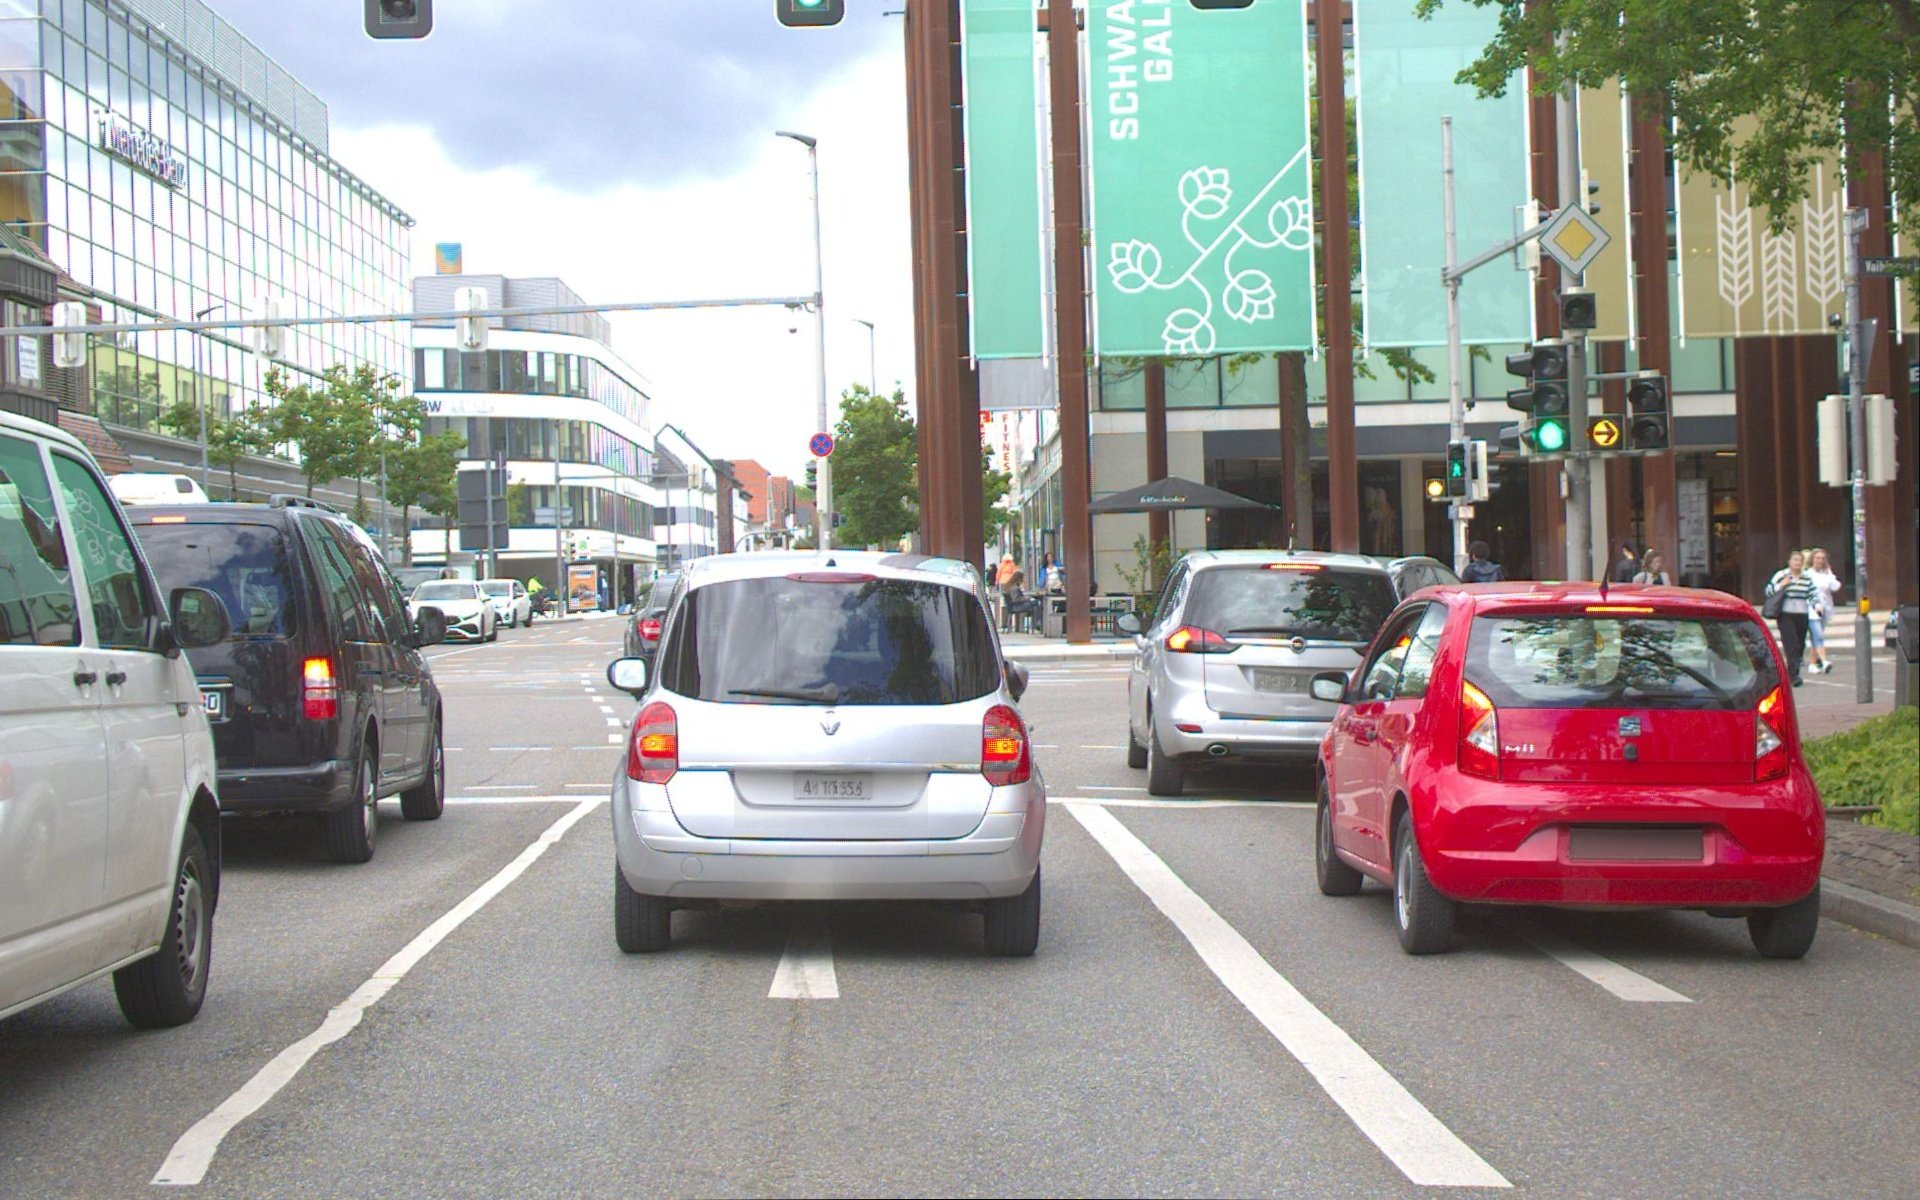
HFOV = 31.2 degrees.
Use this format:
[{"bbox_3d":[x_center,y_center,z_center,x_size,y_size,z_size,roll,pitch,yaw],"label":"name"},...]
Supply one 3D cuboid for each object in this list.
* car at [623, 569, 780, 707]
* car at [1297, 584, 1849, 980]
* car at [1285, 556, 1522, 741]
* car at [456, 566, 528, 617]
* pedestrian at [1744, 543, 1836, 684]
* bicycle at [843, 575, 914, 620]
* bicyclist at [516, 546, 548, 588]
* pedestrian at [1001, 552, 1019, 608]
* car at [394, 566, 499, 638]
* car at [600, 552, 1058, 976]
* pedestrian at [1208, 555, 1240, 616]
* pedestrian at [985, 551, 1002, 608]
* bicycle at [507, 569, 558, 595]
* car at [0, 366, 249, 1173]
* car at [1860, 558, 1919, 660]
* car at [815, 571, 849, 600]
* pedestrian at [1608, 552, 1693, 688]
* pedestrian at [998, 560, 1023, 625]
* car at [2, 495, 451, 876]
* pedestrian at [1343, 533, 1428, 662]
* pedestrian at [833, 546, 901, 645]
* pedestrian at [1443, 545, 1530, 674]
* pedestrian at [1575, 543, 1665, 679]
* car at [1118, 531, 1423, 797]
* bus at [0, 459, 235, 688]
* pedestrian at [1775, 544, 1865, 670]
[{"bbox_3d":[-3.063,0.421,41.257,1.669,1.549,3.642,1,1,-1],"label":"car"},{"bbox_3d":[2.479,0.675,14.718,1.626,1.443,3.642,1,1,-1],"label":"car"},{"bbox_3d":[4.302,0.394,32.738,1.852,1.603,4.859,0,1,12],"label":"car"},{"bbox_3d":[-14.380,-0.263,105.770,1.660,1.460,4.000,-2,1,-1],"label":"car"},{"bbox_3d":[9.771,0.149,40.499,0.741,1.620,0.954,-2,1,-5],"label":"pedestrian"},{"bbox_3d":[-1.875,-0.062,78.962,1.560,0.989,0.752,-1,1,2],"label":"bicycle"},{"bbox_3d":[-17.114,-1.315,137.542,1.006,1.655,0.933,1,0,-27],"label":"bicyclist"},{"bbox_3d":[1.378,-0.557,94.907,0.427,1.544,0.481,-1,1,-3],"label":"pedestrian"},{"bbox_3d":[-11.319,0.020,76.017,1.744,1.454,4.235,-2,1,-1],"label":"car"},{"bbox_3d":[-0.520,0.582,14.466,1.669,1.549,3.642,1,1,-1],"label":"car"},{"bbox_3d":[5.346,-0.304,69.557,0.515,1.204,0.796,-1,2,-3],"label":"pedestrian"},{"bbox_3d":[0.924,-0.562,94.837,0.427,1.544,0.481,-1,1,-3],"label":"pedestrian"},{"bbox_3d":[-17.119,-0.732,137.535,1.006,1.015,3.130,1,1,-27],"label":"bicycle"},{"bbox_3d":[-3.402,0.409,9.445,1.993,2.007,4.840,0,1,-1],"label":"car"},{"bbox_3d":[15.047,0.103,48.511,4.172,1.399,1.801,-1,1,-4],"label":"car"},{"bbox_3d":[-6.780,-0.768,182.140,1.660,1.460,4.000,-2,1,-1],"label":"car"},{"bbox_3d":[8.396,0.233,41.825,0.741,1.620,0.954,-2,1,-5],"label":"pedestrian"},{"bbox_3d":[0.959,-0.146,65.532,0.447,1.216,0.606,-1,1,1],"label":"pedestrian"},{"bbox_3d":[-3.848,0.384,18.749,1.707,1.814,4.572,1,1,-3],"label":"car"},{"bbox_3d":[5.642,-0.037,45.618,0.878,1.675,1.120,-2,1,-4],"label":"pedestrian"},{"bbox_3d":[-1.556,-0.076,57.470,0.871,1.641,0.679,-1,1,33],"label":"pedestrian"},{"bbox_3d":[6.980,0.116,45.619,0.878,1.675,1.120,-2,1,-4],"label":"pedestrian"},{"bbox_3d":[8.755,0.140,45.644,0.878,1.761,1.120,-2,1,-4],"label":"pedestrian"},{"bbox_3d":[2.097,0.384,24.321,1.739,1.695,4.381,1,1,0],"label":"car"},{"bbox_3d":[-14.920,-0.375,53.015,2.988,3.316,12.302,-4,1,9],"label":"bus"},{"bbox_3d":[11.100,0.080,44.375,0.821,1.589,1.039,-1,1,-4],"label":"pedestrian"}]
